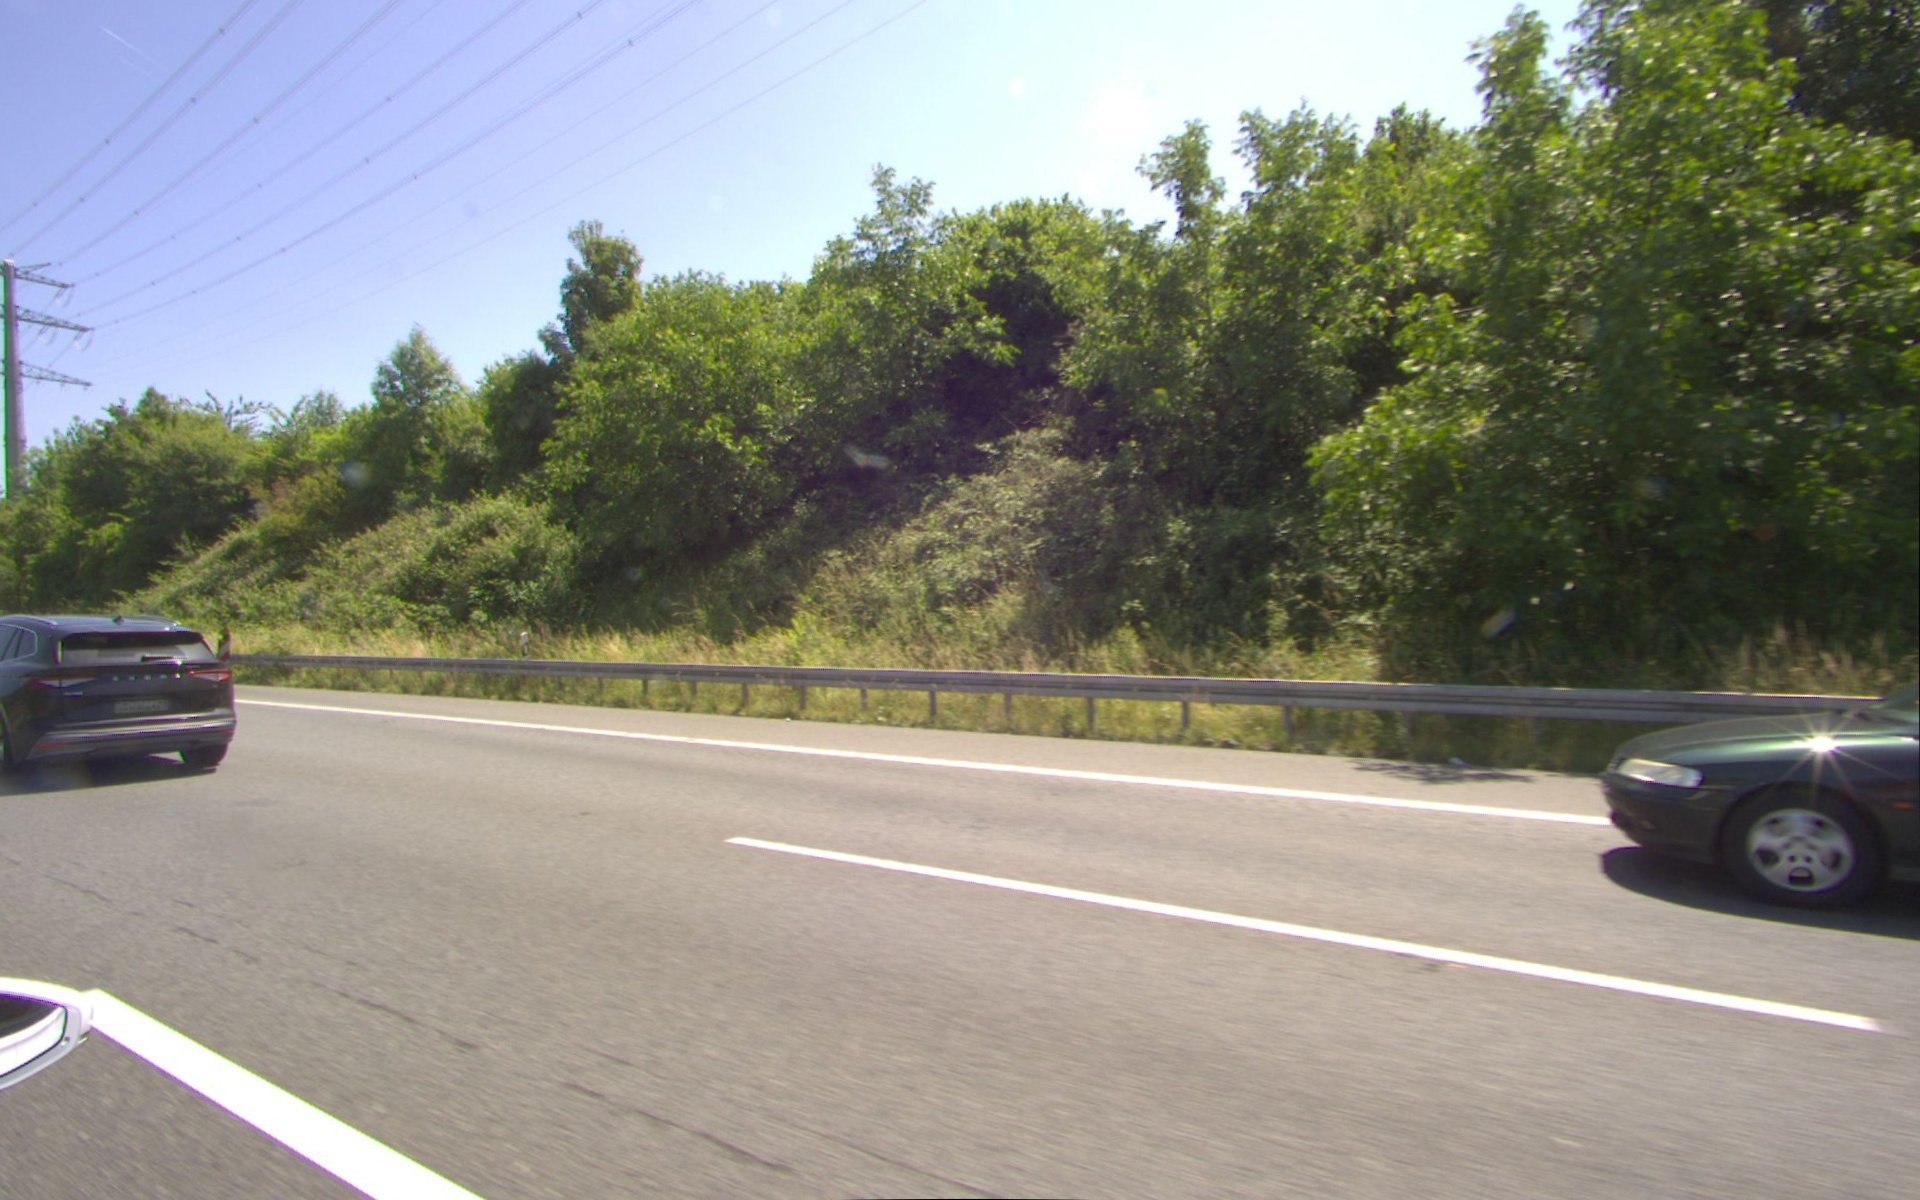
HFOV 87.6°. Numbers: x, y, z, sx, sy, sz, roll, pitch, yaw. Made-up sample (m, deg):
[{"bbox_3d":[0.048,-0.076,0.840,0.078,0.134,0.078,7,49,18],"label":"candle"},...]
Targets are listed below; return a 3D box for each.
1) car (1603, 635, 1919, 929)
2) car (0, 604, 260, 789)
[{"bbox_3d":[5.785,0.880,5.045,4.241,1.395,1.732,-1,-2,32],"label":"car"},{"bbox_3d":[-9.575,0.897,10.807,4.368,1.635,1.824,-1,-1,33],"label":"car"}]
